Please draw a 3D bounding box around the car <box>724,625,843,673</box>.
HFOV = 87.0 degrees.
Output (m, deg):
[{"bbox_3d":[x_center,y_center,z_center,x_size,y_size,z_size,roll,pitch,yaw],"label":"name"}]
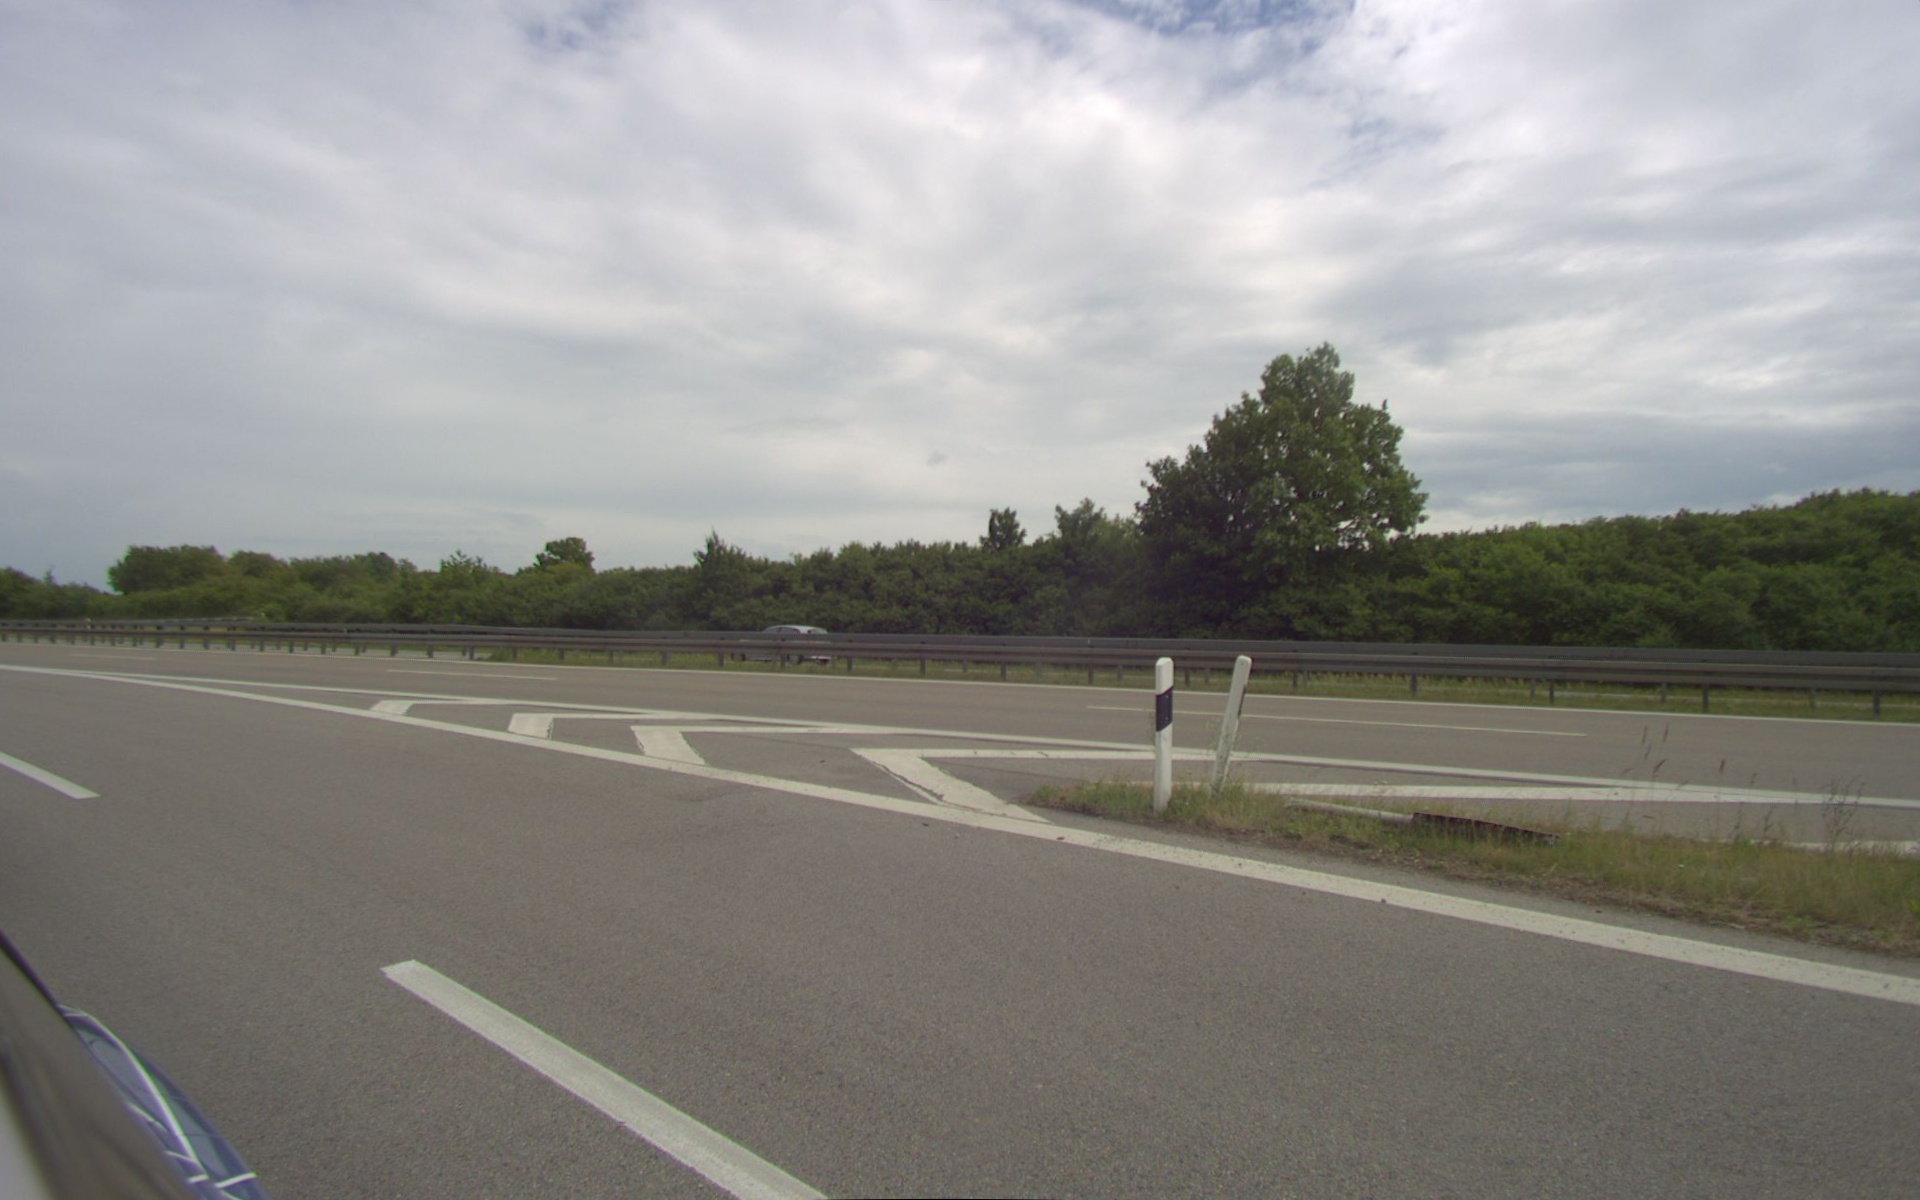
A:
[{"bbox_3d":[-6.352,1.723,36.297,3.983,1.608,1.791,0,-2,29],"label":"car"}]
